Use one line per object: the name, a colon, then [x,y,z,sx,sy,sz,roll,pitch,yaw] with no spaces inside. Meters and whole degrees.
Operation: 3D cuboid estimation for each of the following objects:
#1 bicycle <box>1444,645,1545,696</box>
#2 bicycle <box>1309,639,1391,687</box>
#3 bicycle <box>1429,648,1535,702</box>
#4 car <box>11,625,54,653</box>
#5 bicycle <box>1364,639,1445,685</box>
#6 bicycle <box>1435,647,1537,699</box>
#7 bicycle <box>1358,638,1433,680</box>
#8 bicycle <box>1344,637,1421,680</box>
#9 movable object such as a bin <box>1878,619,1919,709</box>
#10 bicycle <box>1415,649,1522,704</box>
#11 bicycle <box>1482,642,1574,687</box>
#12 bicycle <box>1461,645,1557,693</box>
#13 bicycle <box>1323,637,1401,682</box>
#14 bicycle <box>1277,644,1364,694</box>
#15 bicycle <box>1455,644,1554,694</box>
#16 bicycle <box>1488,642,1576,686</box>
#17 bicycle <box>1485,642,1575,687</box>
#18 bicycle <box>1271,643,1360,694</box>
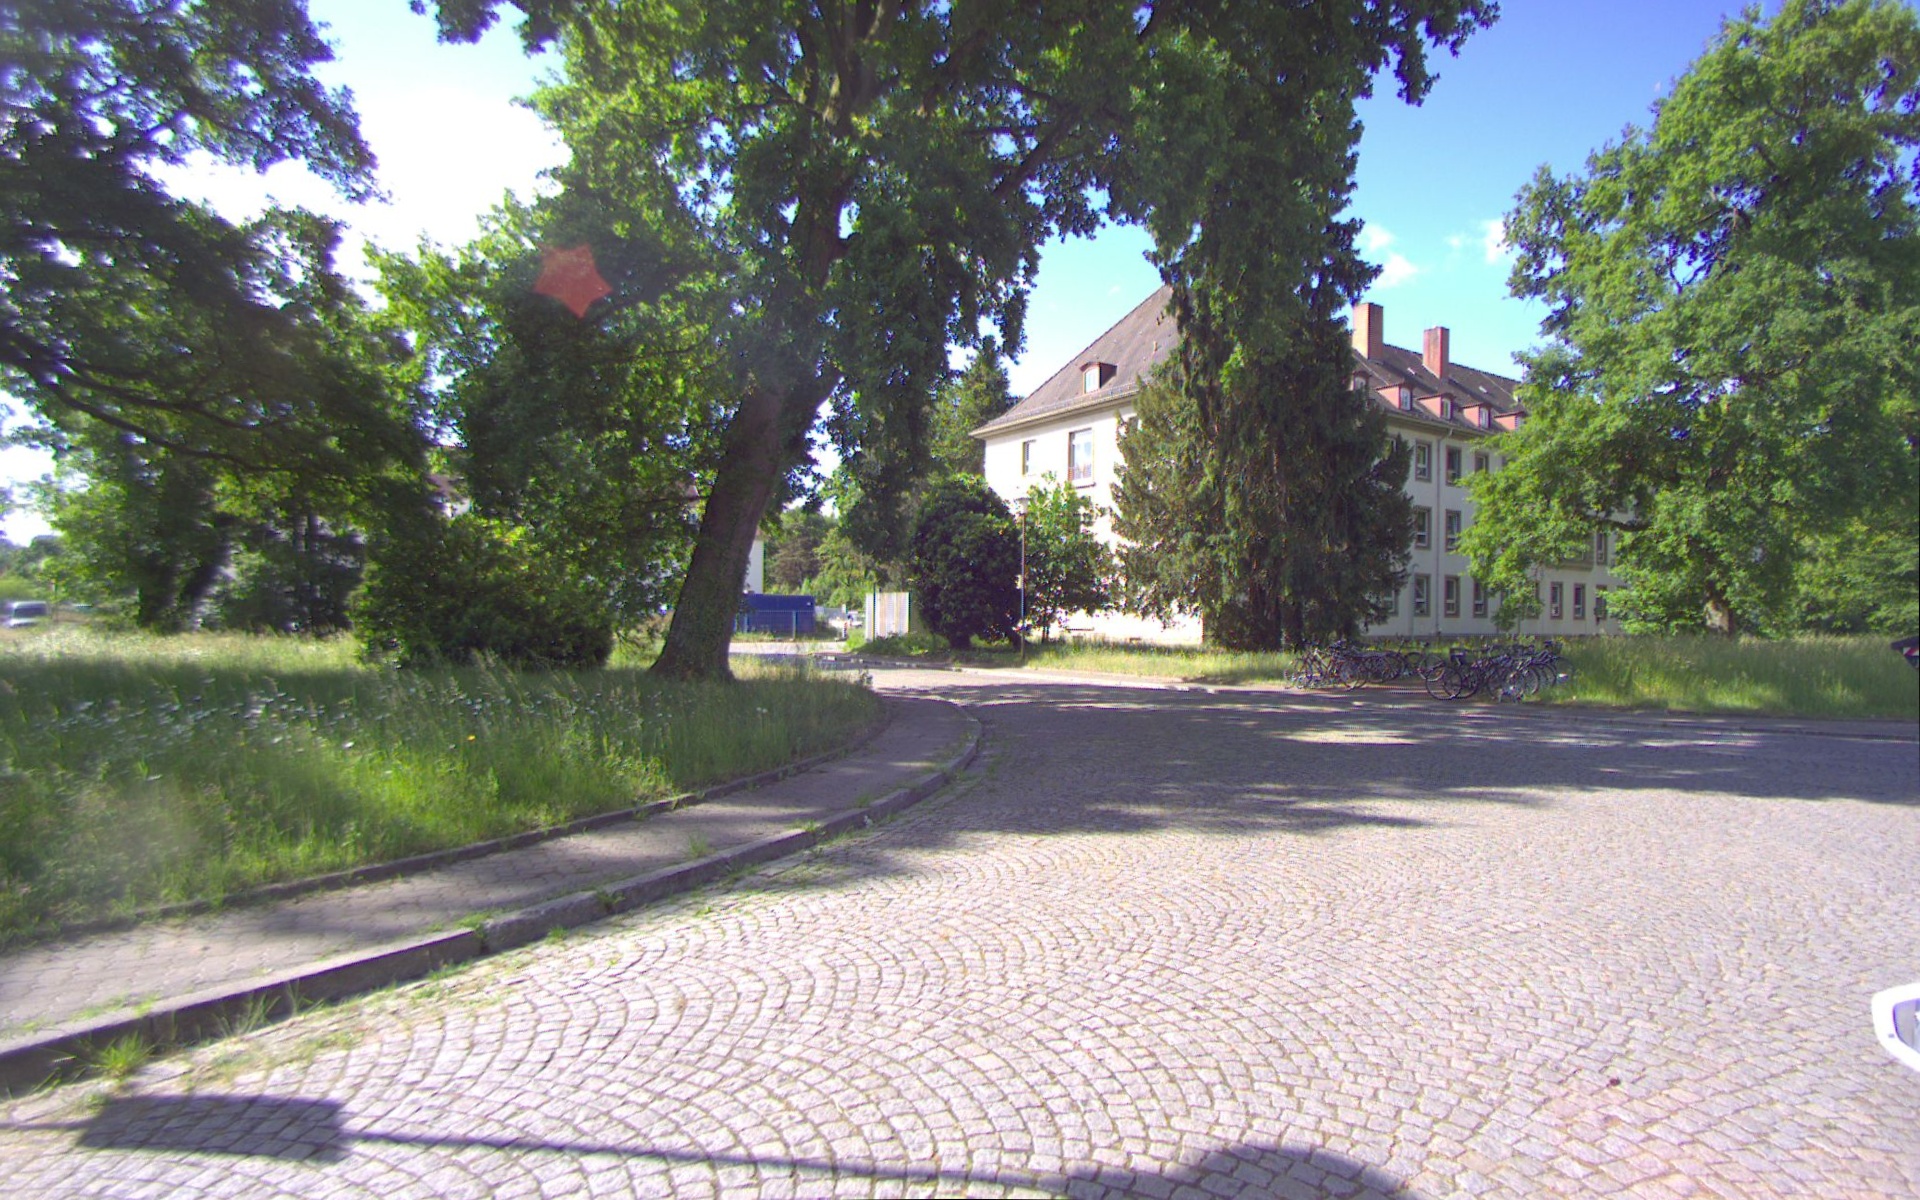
bicycle: [11.689,1.541,21.996,1.887,1.072,0.474,-3,-3,34]
bicycle: [9.828,1.572,25.330,1.884,1.117,0.569,0,0,29]
bicycle: [10.720,1.539,20.666,1.884,1.072,0.475,-2,-2,28]
car: [-64.663,2.680,70.010,4.081,1.879,1.983,-1,-2,44]
bicycle: [11.775,1.630,26.663,1.889,1.117,0.568,0,0,38]
bicycle: [11.290,1.556,21.588,1.887,1.072,0.474,-3,-3,34]
bicycle: [12.325,1.657,28.466,1.886,1.117,0.569,0,0,33]
bicycle: [11.669,1.601,27.760,1.889,1.117,0.568,0,0,38]
movable object such as a bin: [19.946,1.233,18.802,1.991,1.767,3.567,1,-2,-15]
bicycle: [10.276,1.548,20.341,1.884,1.072,0.475,-2,-2,28]
bicycle: [13.930,1.588,24.661,1.888,1.072,0.474,-3,-3,36]
bicycle: [12.727,1.601,23.306,1.888,1.072,0.474,-3,-3,36]
bicycle: [10.599,1.554,26.502,1.884,1.117,0.569,0,0,29]
bicycle: [8.650,1.634,24.129,1.886,1.117,0.569,-1,0,32]
bicycle: [12.233,1.550,22.594,1.887,1.072,0.474,-3,-3,34]
bicycle: [14.480,1.615,25.456,1.888,1.072,0.474,-3,-3,36]
bicycle: [14.211,1.603,25.075,1.888,1.072,0.474,-3,-3,36]
bicycle: [8.362,1.594,23.672,1.886,1.117,0.569,-1,0,32]
